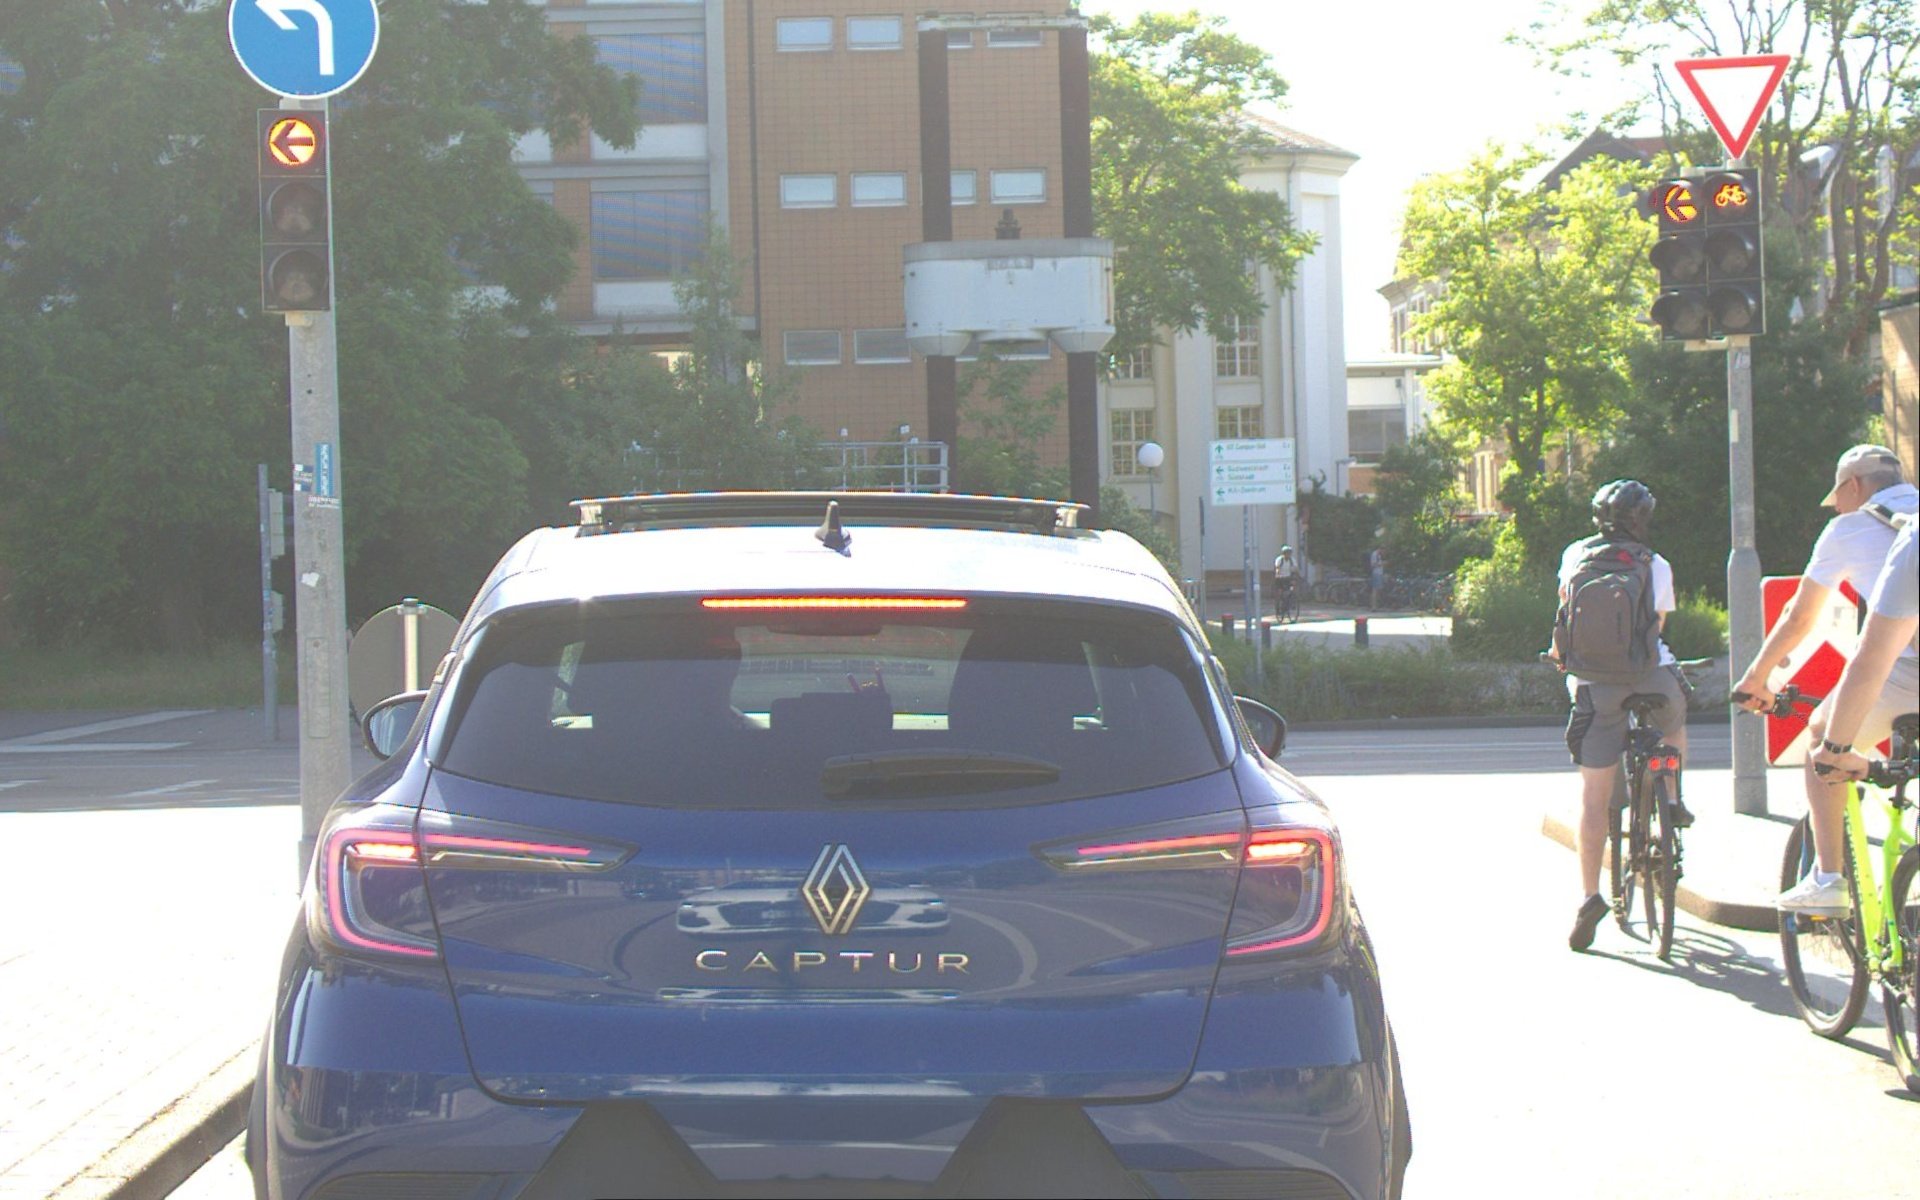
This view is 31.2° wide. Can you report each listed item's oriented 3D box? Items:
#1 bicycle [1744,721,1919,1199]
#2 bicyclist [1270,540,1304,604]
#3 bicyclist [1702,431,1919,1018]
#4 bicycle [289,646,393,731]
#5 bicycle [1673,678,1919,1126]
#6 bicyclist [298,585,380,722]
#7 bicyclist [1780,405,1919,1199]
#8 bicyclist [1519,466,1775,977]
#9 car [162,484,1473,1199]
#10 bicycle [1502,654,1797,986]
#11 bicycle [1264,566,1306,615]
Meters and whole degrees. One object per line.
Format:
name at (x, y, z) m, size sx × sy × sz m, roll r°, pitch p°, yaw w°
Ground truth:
bicycle at (2.232, 0.845, 7.268) m, size 0.689 × 1.085 × 1.922 m, roll 0°, pitch 1°, yaw -1°
bicyclist at (7.735, -0.665, 81.441) m, size 0.694 × 1.476 × 0.717 m, roll -1°, pitch 1°, yaw -1°
bicyclist at (2.602, 0.330, 9.884) m, size 0.678 × 1.589 × 1.142 m, roll 0°, pitch 1°, yaw -1°
bicycle at (-7.885, 1.120, 43.912) m, size 0.755 × 0.981 × 2.093 m, roll -1°, pitch 1°, yaw 5°
bicycle at (2.588, 0.799, 9.810) m, size 0.689 × 1.085 × 1.922 m, roll 0°, pitch 1°, yaw -1°
bicyclist at (-7.905, 0.674, 43.802) m, size 0.755 × 1.710 × 0.998 m, roll -1°, pitch 1°, yaw 5°
bicyclist at (2.234, 0.499, 7.339) m, size 0.683 × 1.785 × 1.142 m, roll 0°, pitch 1°, yaw -1°
bicyclist at (2.493, 0.418, 12.584) m, size 0.699 × 1.785 × 1.142 m, roll 0°, pitch 1°, yaw -1°
car at (-0.272, 0.609, 6.655) m, size 1.788 × 1.580 × 3.915 m, roll 0°, pitch 1°, yaw -2°
bicycle at (2.521, 0.771, 12.770) m, size 0.689 × 1.085 × 1.922 m, roll 0°, pitch 1°, yaw -1°
bicycle at (7.735, -0.243, 81.793) m, size 0.694 × 1.136 × 2.441 m, roll -1°, pitch 1°, yaw -1°
